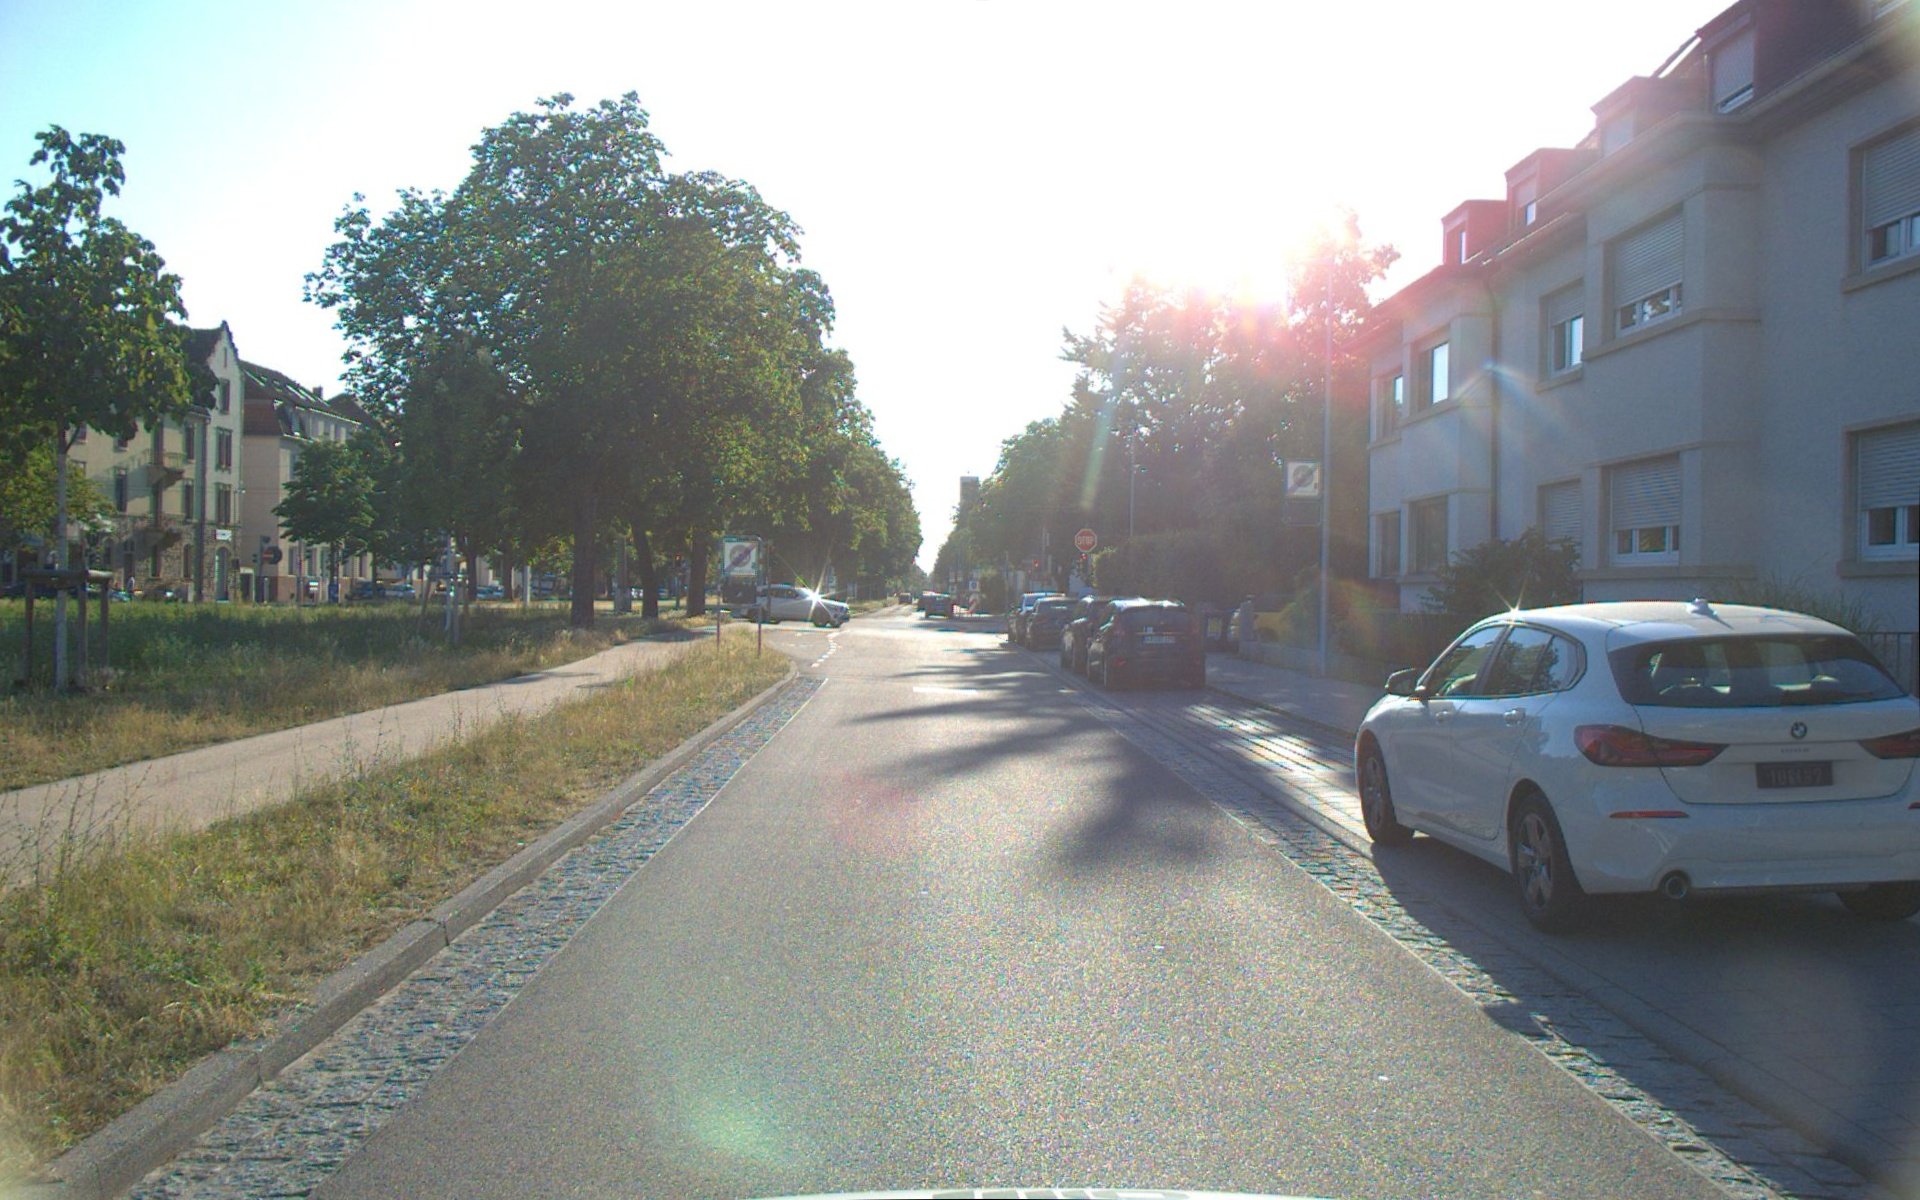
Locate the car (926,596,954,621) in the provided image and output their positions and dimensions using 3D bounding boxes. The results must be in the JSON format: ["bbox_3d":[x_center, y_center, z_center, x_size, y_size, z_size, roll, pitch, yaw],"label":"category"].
[{"bbox_3d":[-1.205,0.519,101.537,1.607,1.476,3.307,2,0,1],"label":"car"}]

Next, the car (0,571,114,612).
[{"bbox_3d":[-36.183,-0.343,65.190,4.677,1.459,1.810,2,-1,-10],"label":"car"}]

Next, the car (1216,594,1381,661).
[{"bbox_3d":[8.028,0.636,39.468,3.560,1.522,1.781,0,0,-1],"label":"car"}]

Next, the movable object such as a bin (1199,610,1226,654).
[{"bbox_3d":[6.339,0.799,41.540,0.498,1.061,0.658,2,0,-7],"label":"movable object such as a bin"}]

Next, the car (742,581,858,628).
[{"bbox_3d":[-6.609,0.192,68.428,4.317,1.706,1.898,3,0,14],"label":"car"}]

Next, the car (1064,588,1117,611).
[{"bbox_3d":[9.702,-0.026,123.051,3.703,1.552,1.743,2,1,-1],"label":"car"}]

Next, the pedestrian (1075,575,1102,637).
[{"bbox_3d":[3.968,0.181,51.302,0.657,1.898,0.881,2,0,-4],"label":"pedestrian"}]

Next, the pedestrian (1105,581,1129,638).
[{"bbox_3d":[4.864,0.294,51.299,0.655,1.738,0.622,1,0,-1],"label":"pedestrian"}]

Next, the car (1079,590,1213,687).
[{"bbox_3d":[3.079,0.612,28.130,1.684,1.497,3.982,-1,0,-2],"label":"car"}]

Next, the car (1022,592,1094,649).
[{"bbox_3d":[2.608,0.535,44.826,1.608,1.452,3.935,0,0,-2],"label":"car"}]

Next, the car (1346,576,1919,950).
[{"bbox_3d":[3.532,0.654,8.978,1.747,1.533,4.232,-1,0,-2],"label":"car"}]

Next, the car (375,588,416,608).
[{"bbox_3d":[-44.450,-0.177,130.274,1.701,1.452,3.795,2,1,5],"label":"car"}]

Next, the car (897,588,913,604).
[{"bbox_3d":[-7.587,-0.552,228.298,2.090,2.049,3.901,2,0,-1],"label":"car"}]

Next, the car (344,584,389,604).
[{"bbox_3d":[-44.410,-0.412,123.820,1.701,1.422,3.794,2,0,5],"label":"car"}]

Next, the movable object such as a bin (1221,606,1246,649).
[{"bbox_3d":[6.883,0.684,41.603,0.498,1.061,0.416,2,0,-7],"label":"movable object such as a bin"}]

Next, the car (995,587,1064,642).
[{"bbox_3d":[2.109,0.427,51.346,1.821,1.569,4.872,1,0,-1],"label":"car"}]

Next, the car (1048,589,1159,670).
[{"bbox_3d":[2.828,0.547,33.485,1.711,1.500,4.254,1,0,-2],"label":"car"}]

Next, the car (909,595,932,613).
[{"bbox_3d":[-3.229,0.297,135.530,1.808,1.418,3.828,2,0,0],"label":"car"}]
